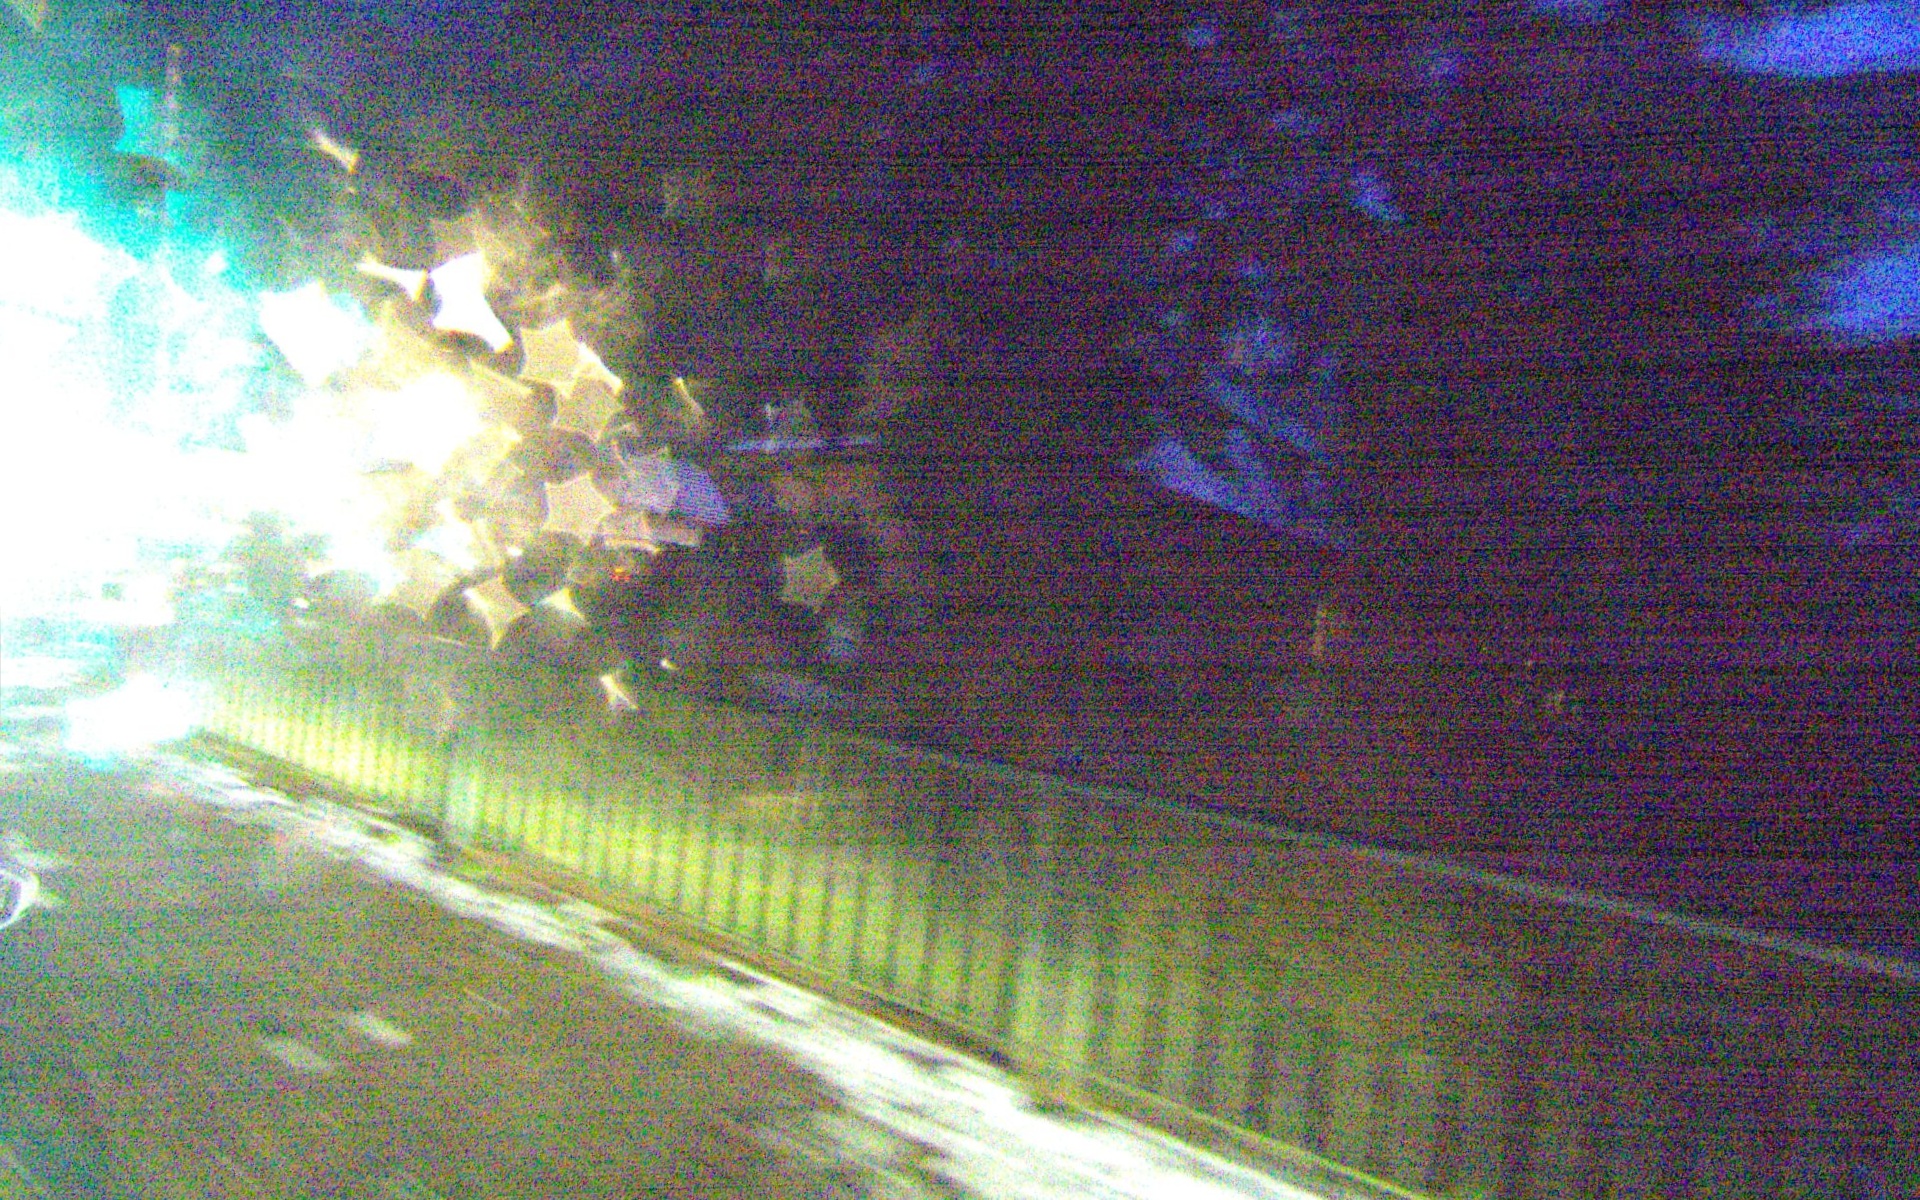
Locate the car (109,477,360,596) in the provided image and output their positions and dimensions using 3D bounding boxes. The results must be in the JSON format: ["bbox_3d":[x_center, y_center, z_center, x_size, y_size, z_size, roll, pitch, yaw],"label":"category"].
[{"bbox_3d":[-16.803,-1.409,23.519,1.748,1.969,4.246,8,-1,35],"label":"car"}]

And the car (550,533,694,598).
[{"bbox_3d":[-11.663,-1.167,34.913,1.953,1.534,4.190,6,-3,41],"label":"car"}]

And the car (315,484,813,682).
[{"bbox_3d":[-3.961,-0.092,10.687,1.912,1.607,4.457,8,2,41],"label":"car"}]
